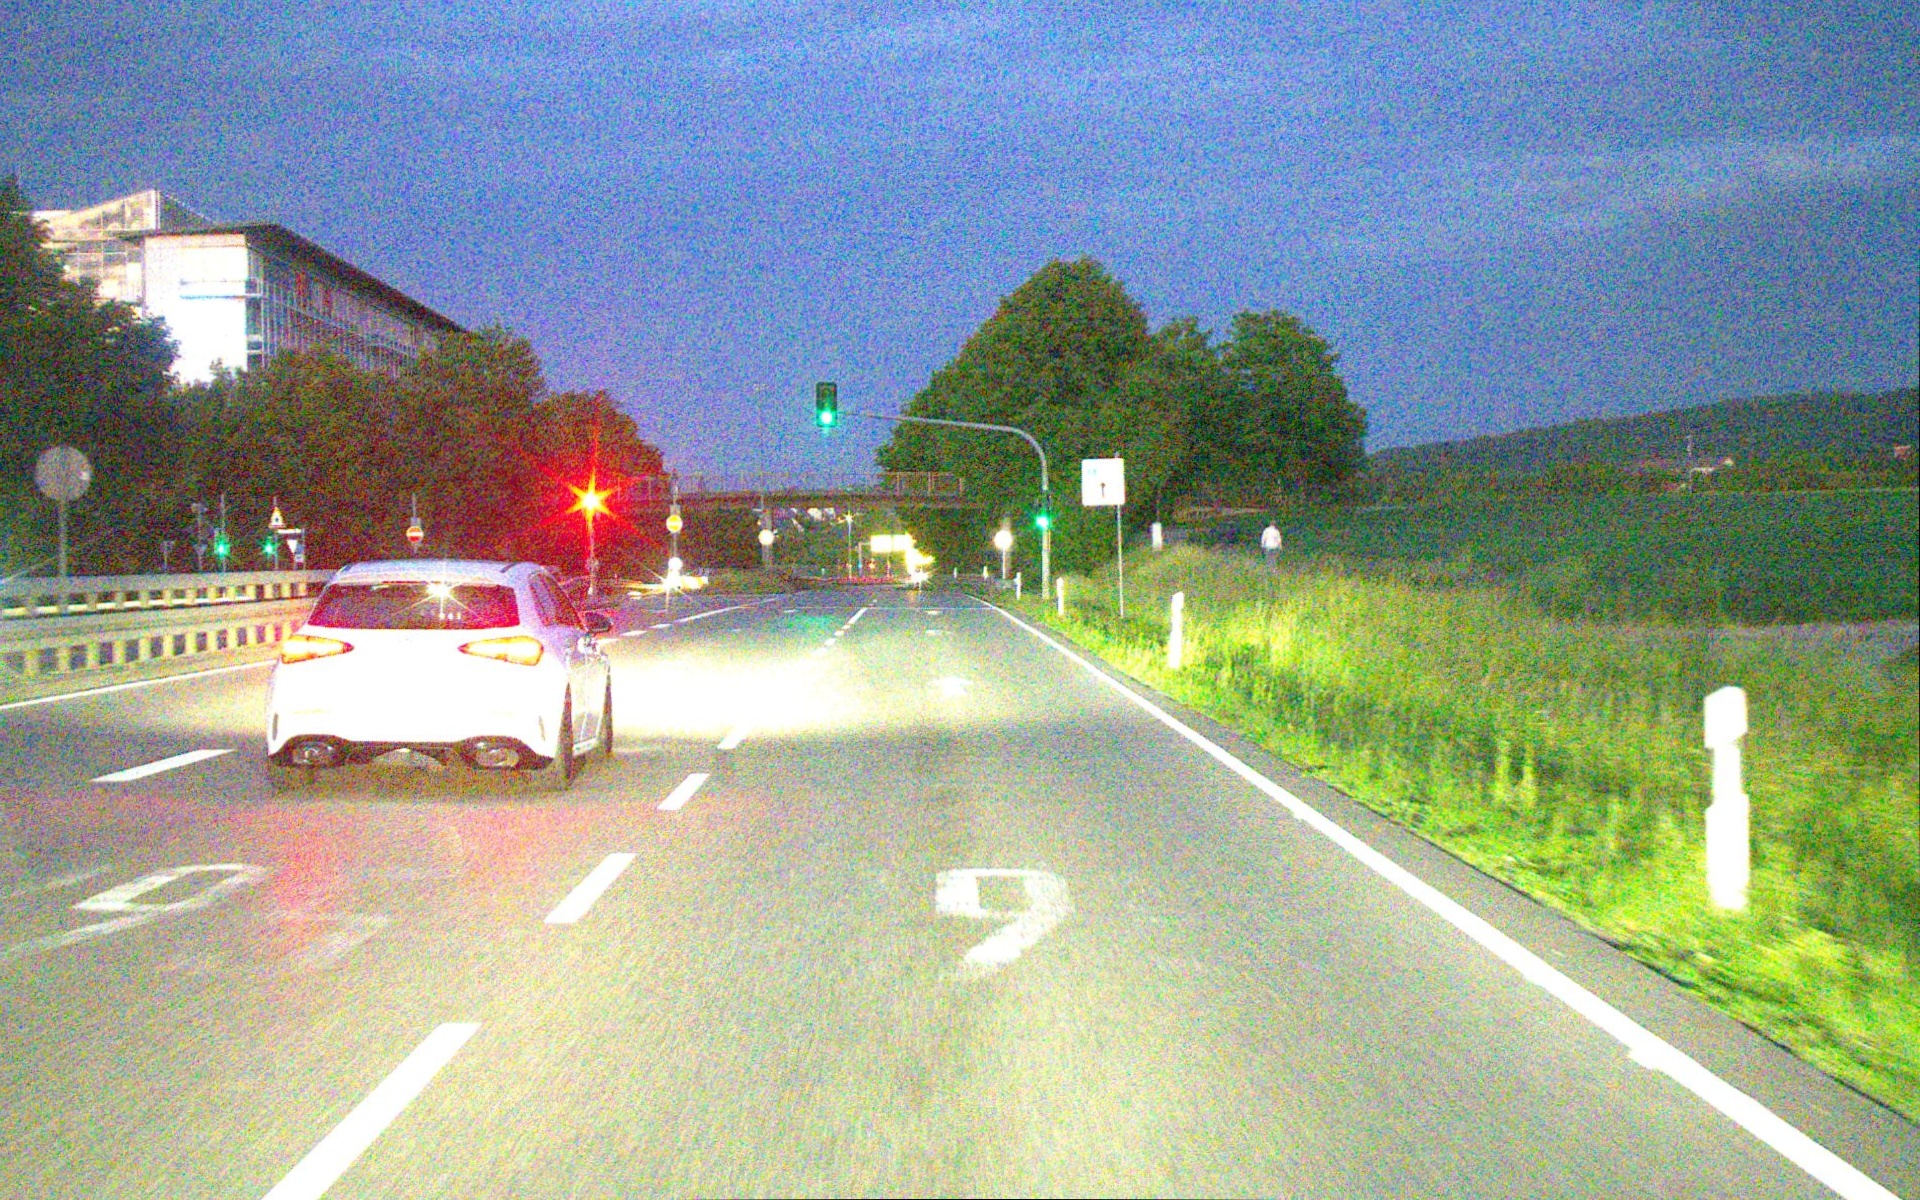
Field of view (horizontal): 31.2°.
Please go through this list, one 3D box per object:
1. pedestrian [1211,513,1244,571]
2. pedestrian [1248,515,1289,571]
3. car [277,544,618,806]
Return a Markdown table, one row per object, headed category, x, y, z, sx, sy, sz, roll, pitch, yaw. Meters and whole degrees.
| category | x | y | z | sx | sy | sz | roll | pitch | yaw |
| --- | --- | --- | --- | --- | --- | --- | --- | --- | --- |
| pedestrian | 8.316 | -1.802 | 106.989 | 0.921 | 1.787 | 1.106 | 0 | 1 | -1 |
| pedestrian | 9.569 | -1.773 | 106.664 | 1.090 | 1.717 | 1.260 | 0 | 1 | -1 |
| car | -3.205 | 0.399 | 22.249 | 1.642 | 1.485 | 4.580 | 0 | 1 | -2 |
